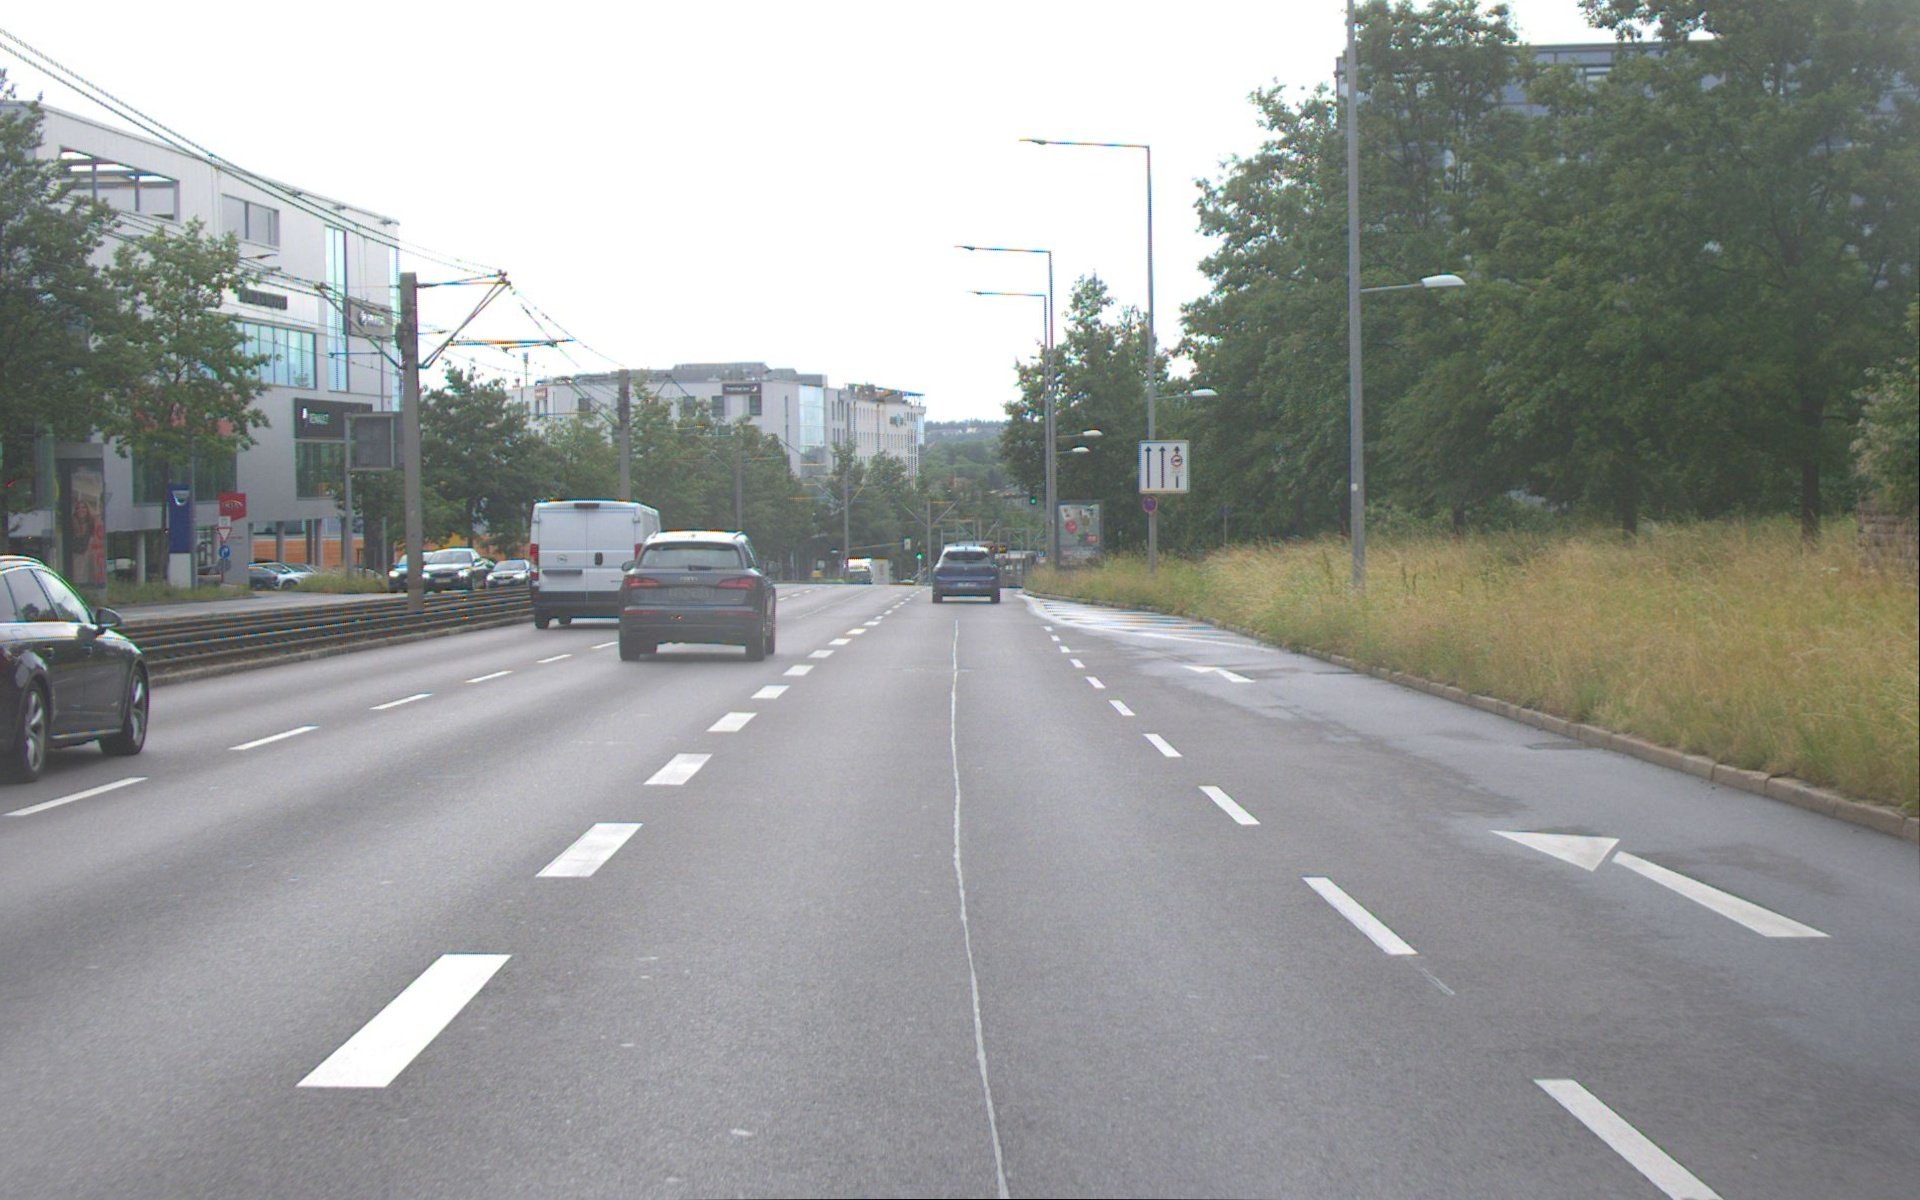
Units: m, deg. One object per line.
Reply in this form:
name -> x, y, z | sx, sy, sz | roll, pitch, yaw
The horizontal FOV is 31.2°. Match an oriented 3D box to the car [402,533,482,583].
car -> -16.781, -1.337, 111.470 | 1.772, 1.497, 4.199 | 1, -1, 2

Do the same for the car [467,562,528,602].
car -> -19.722, -0.778, 146.768 | 1.841, 1.481, 4.654 | -3, 1, 1

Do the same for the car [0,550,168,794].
car -> -6.608, 0.390, 22.600 | 1.786, 1.409, 4.806 | 1, 1, -1

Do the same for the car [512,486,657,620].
car -> -6.708, -0.855, 61.923 | 2.267, 2.277, 4.760 | 1, 1, -3

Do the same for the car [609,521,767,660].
car -> -3.507, -0.163, 44.901 | 1.922, 1.705, 4.099 | 1, 1, -3

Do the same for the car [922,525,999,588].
car -> -0.006, -1.125, 89.839 | 1.789, 1.585, 4.000 | -1, 0, -3

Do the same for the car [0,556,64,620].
car -> -22.731, -0.269, 81.539 | 1.841, 1.449, 4.024 | 1, -1, 1
